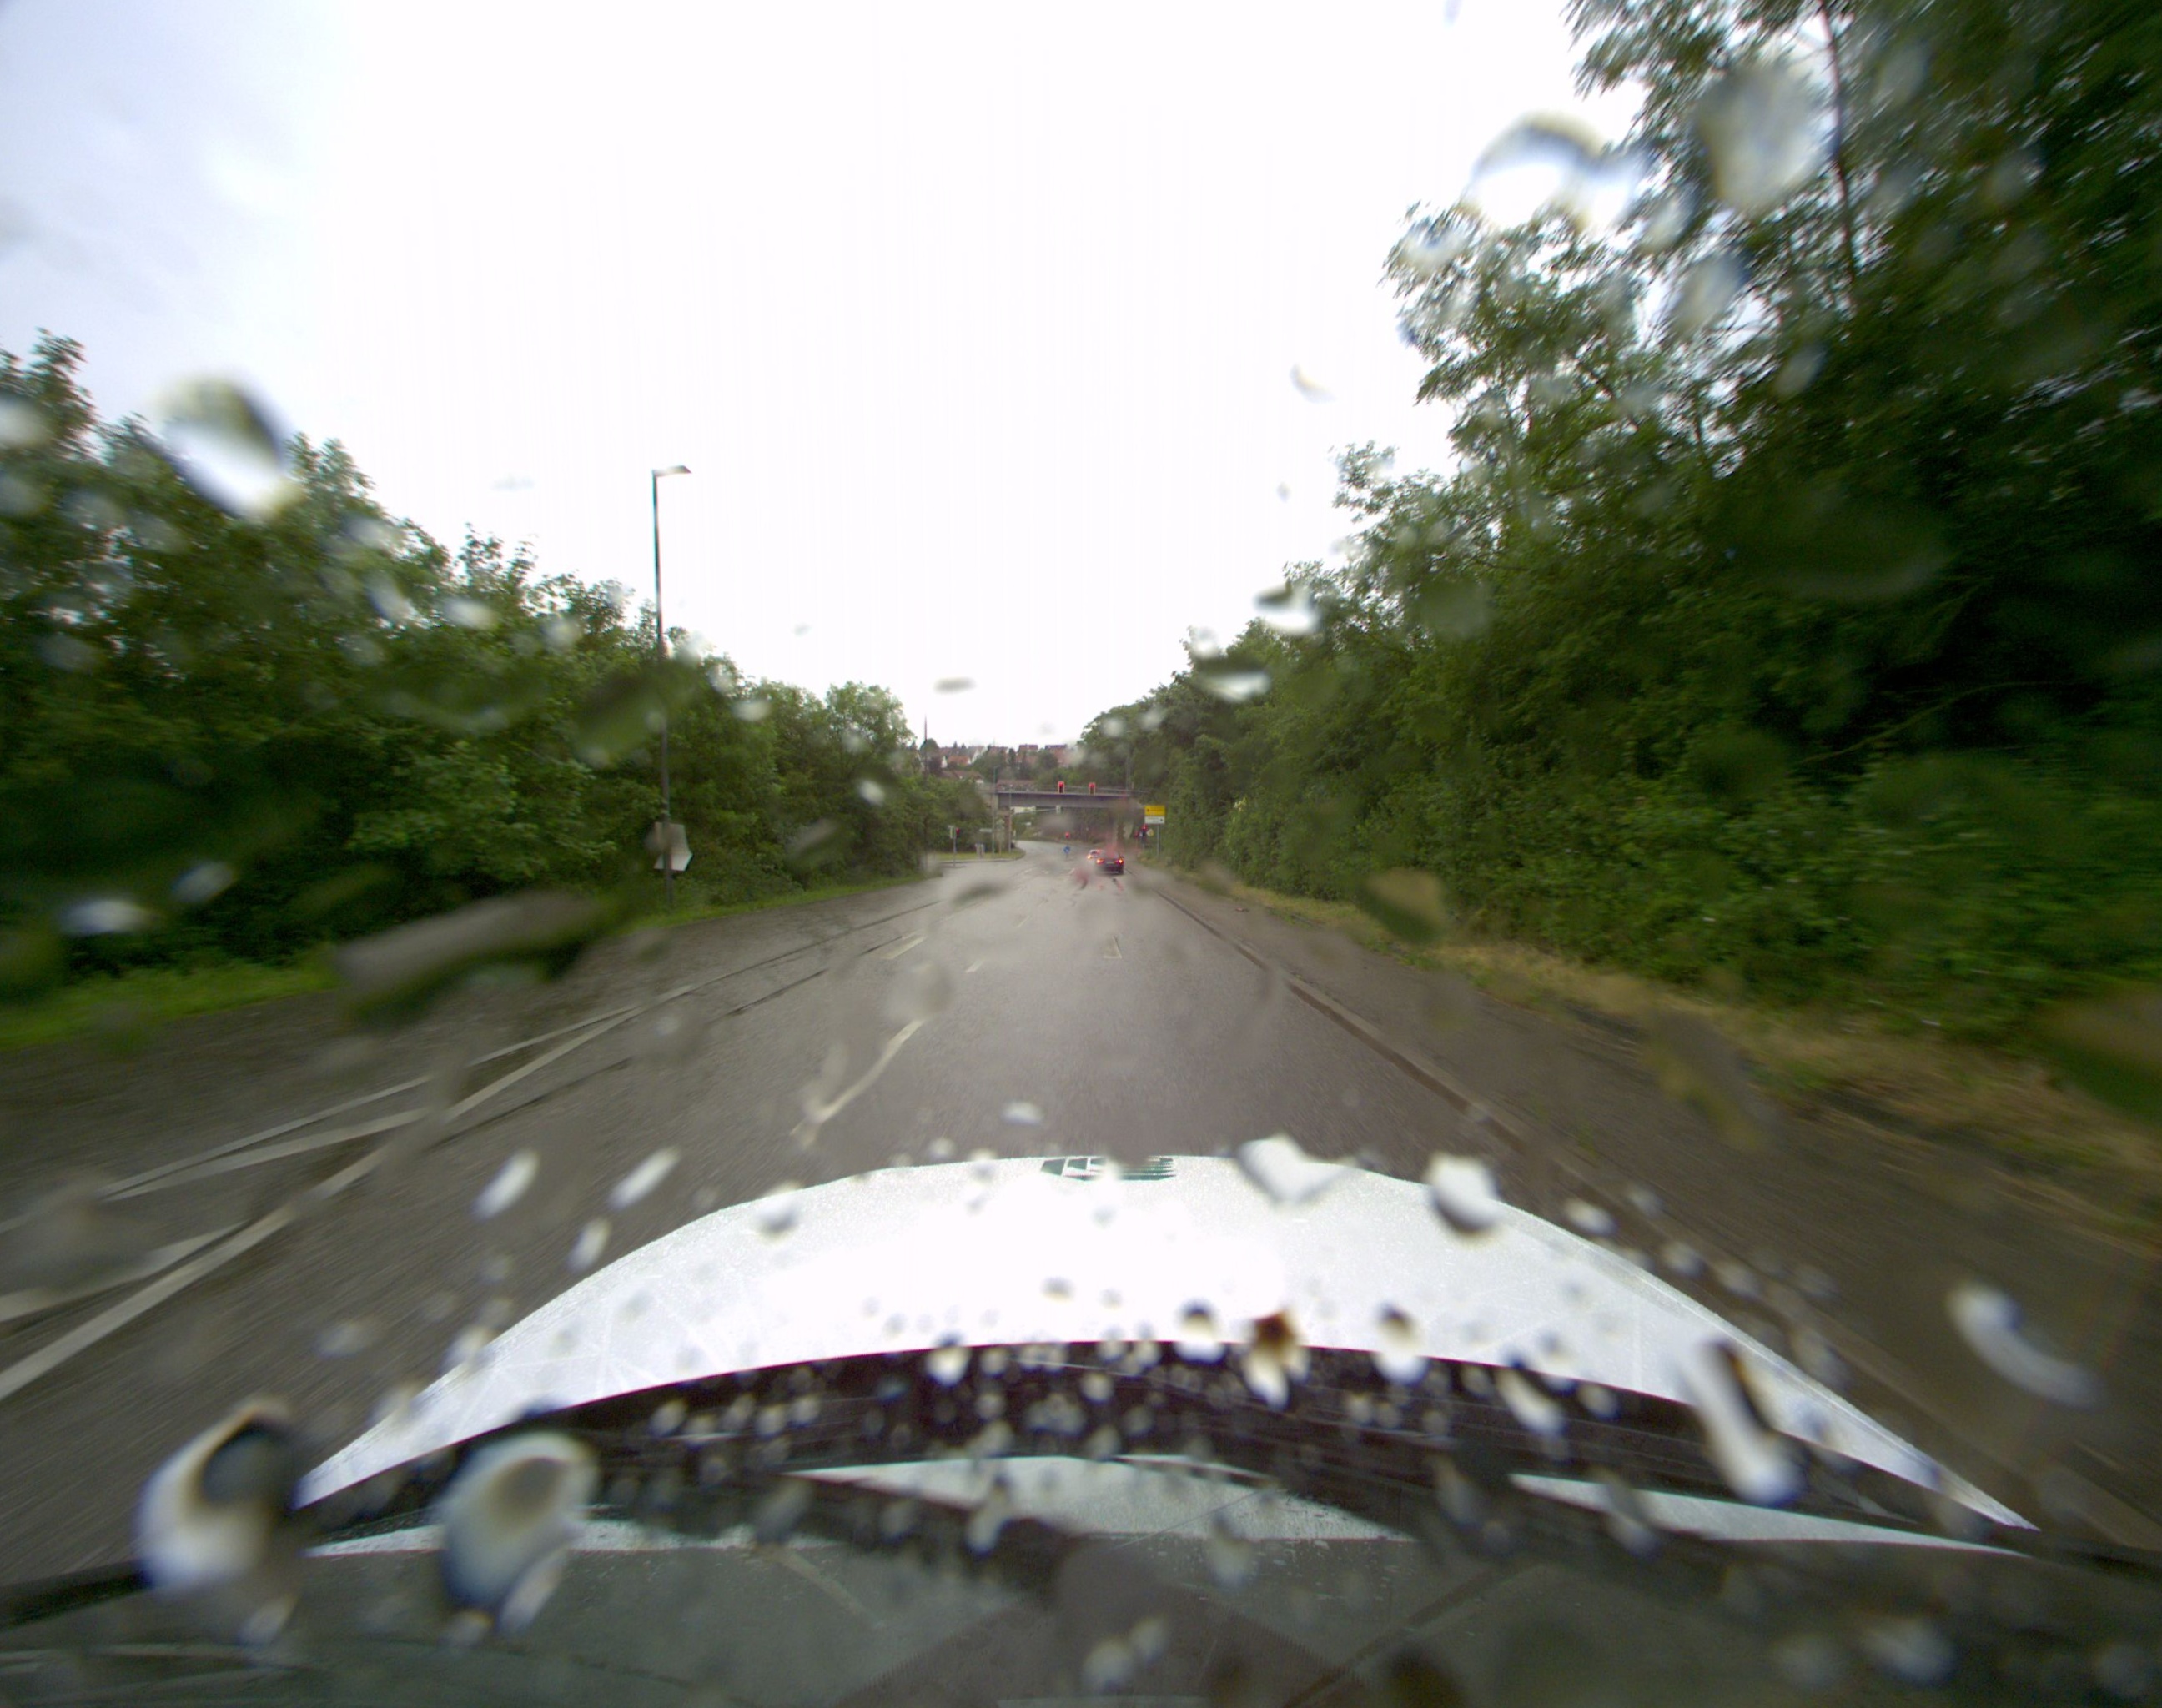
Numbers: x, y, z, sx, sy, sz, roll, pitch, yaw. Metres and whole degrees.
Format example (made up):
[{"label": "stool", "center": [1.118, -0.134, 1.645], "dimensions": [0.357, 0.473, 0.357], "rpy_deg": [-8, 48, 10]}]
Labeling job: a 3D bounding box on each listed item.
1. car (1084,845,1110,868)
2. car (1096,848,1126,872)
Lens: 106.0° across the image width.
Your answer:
[{"label": "car", "center": [1.139, 0.170, 57.424], "dimensions": [1.761, 1.563, 4.002], "rpy_deg": [-1, 0, 2]}, {"label": "car", "center": [1.849, 0.353, 50.743], "dimensions": [1.761, 1.380, 4.002], "rpy_deg": [-1, 0, 2]}]
